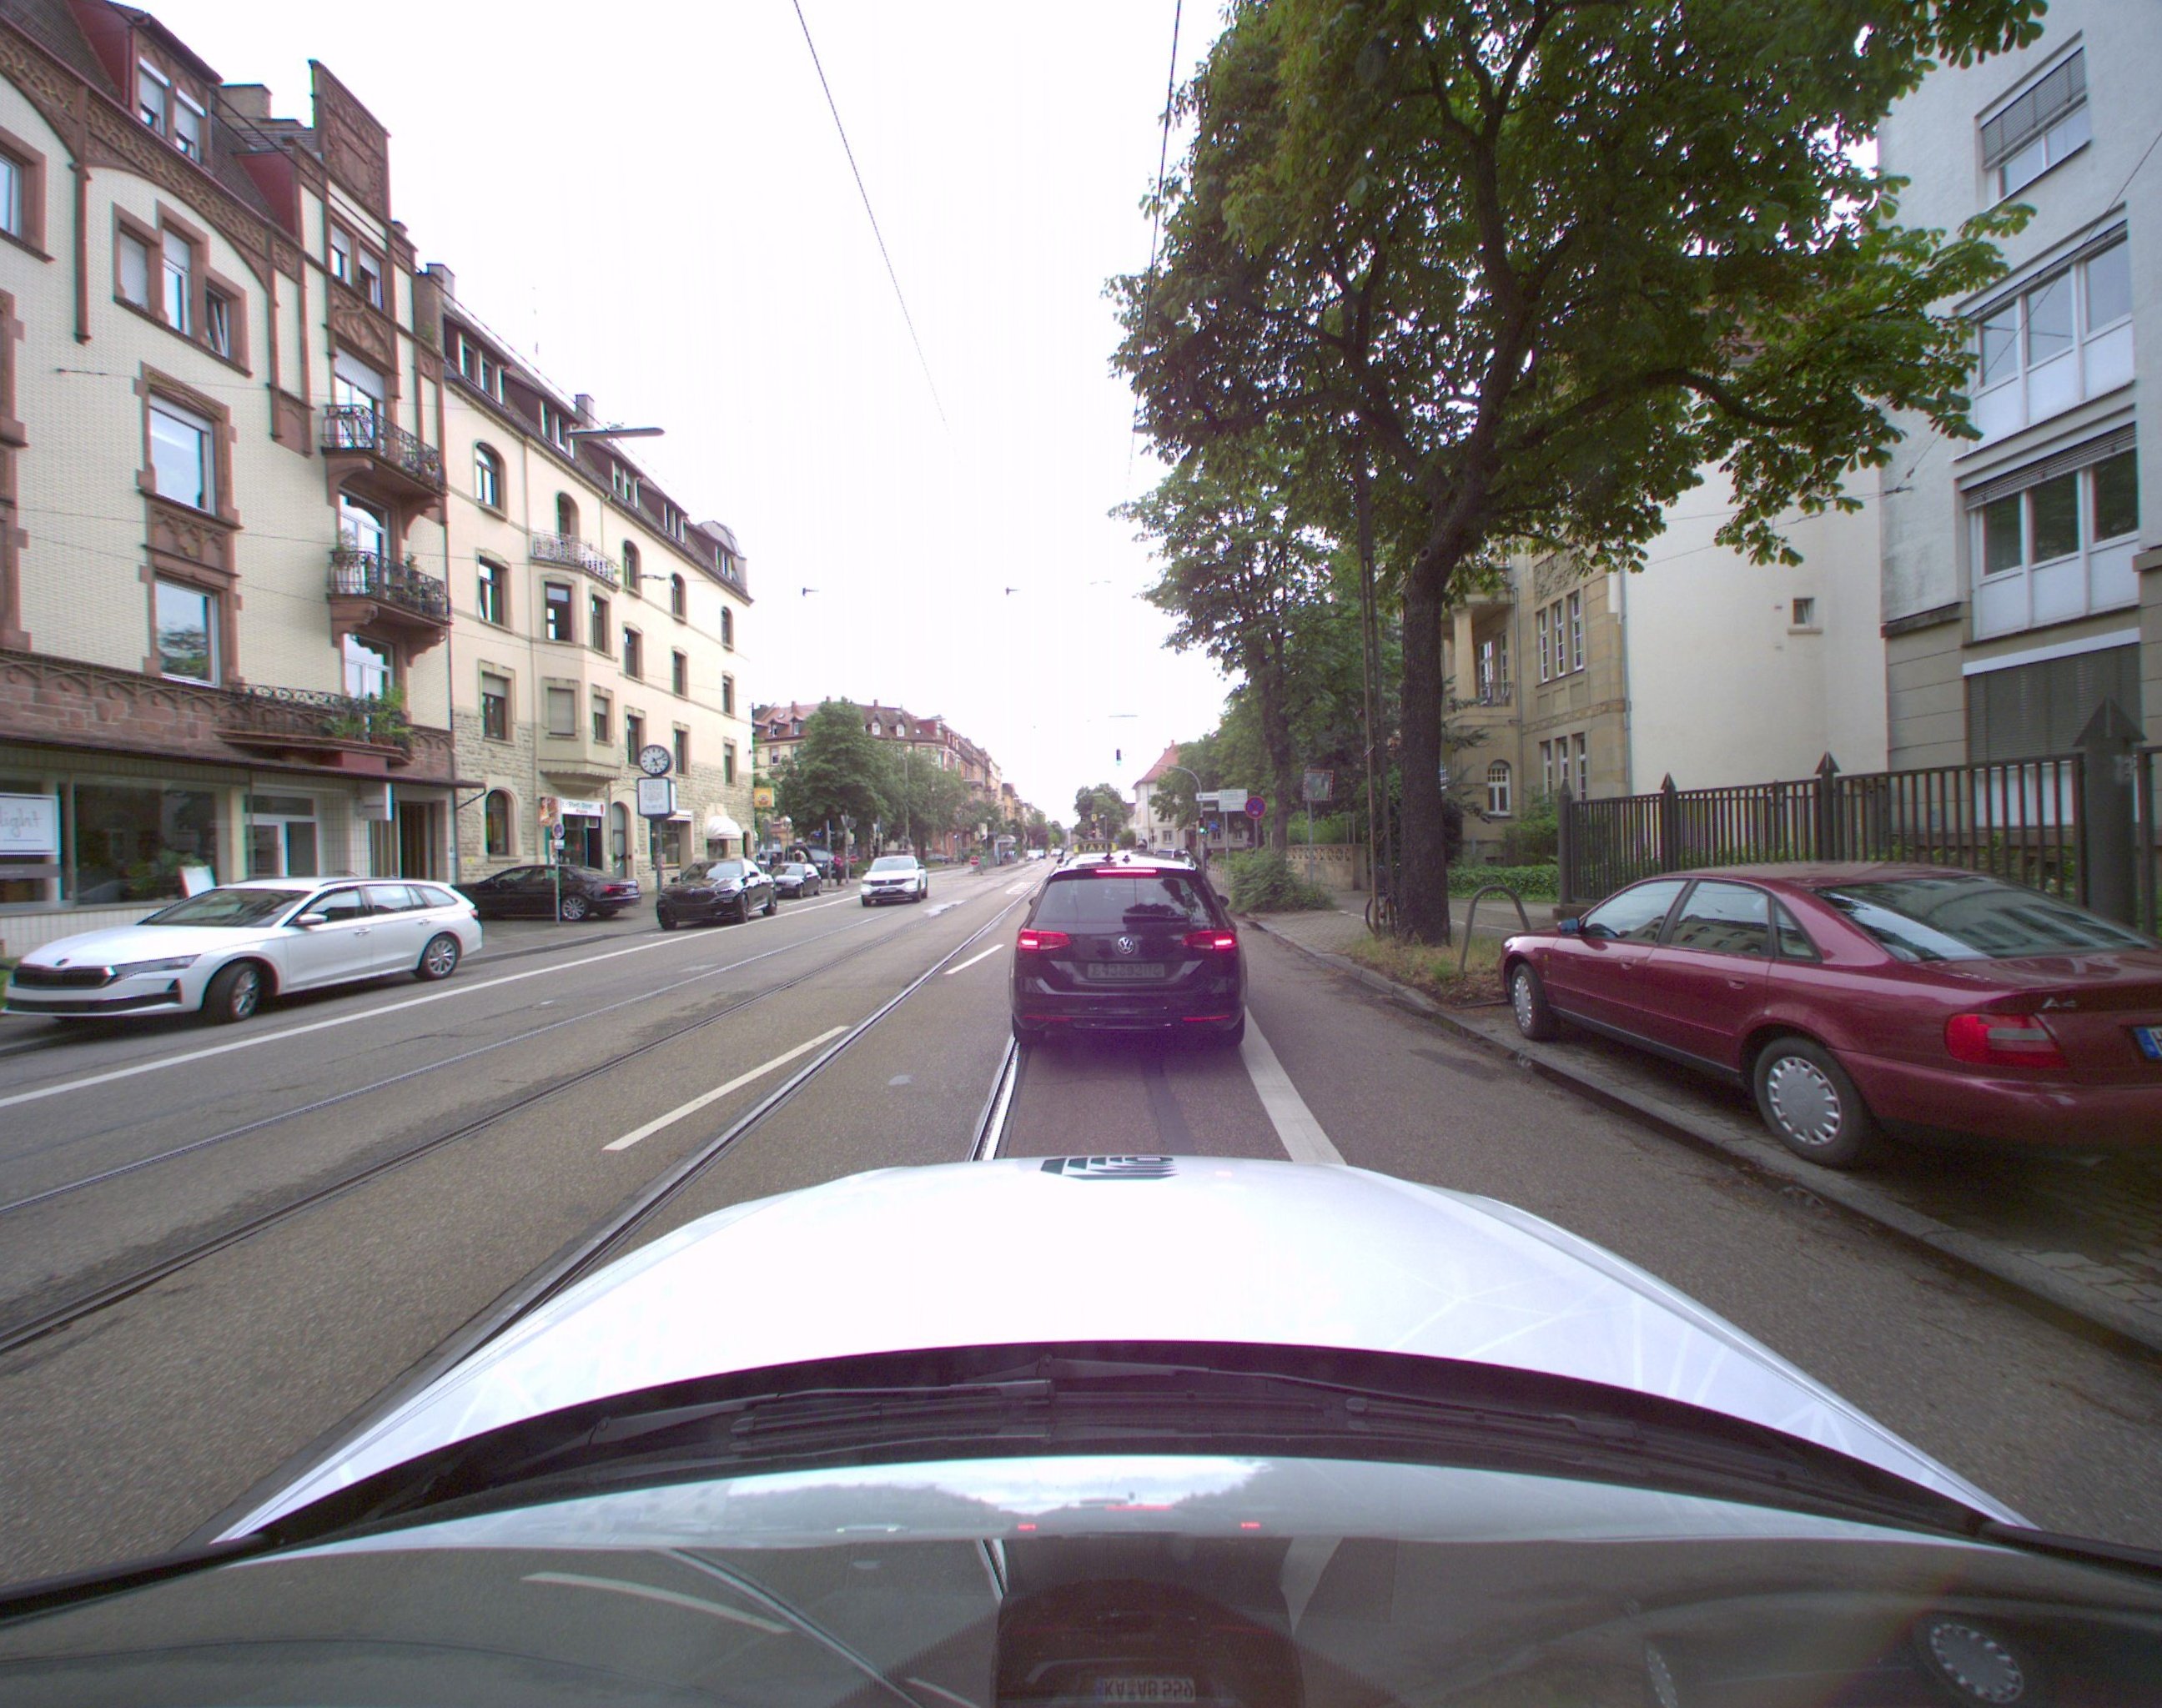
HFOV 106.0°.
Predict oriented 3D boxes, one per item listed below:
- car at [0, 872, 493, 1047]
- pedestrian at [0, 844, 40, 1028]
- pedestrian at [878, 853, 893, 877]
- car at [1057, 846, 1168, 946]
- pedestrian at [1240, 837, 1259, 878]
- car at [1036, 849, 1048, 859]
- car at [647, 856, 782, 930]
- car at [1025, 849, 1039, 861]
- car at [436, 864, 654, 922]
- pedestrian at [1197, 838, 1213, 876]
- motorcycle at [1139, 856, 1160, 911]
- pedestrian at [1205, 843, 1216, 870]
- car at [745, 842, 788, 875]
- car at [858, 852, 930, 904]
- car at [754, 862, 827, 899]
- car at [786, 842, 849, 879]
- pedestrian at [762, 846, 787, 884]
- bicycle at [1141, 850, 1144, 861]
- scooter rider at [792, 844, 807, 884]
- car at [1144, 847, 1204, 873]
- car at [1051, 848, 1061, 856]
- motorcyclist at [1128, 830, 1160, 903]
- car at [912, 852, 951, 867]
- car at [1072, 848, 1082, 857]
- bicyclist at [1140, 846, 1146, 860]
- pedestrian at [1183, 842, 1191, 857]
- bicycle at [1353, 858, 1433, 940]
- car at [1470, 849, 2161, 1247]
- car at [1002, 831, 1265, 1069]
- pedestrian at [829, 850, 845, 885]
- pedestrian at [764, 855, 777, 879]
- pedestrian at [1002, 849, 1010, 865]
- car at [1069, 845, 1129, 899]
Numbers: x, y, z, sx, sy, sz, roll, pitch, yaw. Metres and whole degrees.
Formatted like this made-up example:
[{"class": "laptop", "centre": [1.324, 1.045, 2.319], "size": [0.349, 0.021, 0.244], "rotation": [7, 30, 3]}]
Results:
[{"class": "car", "centre": [-9.827, 1.063, 10.072], "size": [1.742, 1.484, 4.607], "rotation": [-2, 0, -1]}, {"class": "pedestrian", "centre": [-11.175, 0.831, 8.008], "size": [0.666, 1.844, 0.882], "rotation": [-2, 0, -1]}, {"class": "pedestrian", "centre": [-13.381, 0.756, 55.862], "size": [0.833, 1.663, 0.591], "rotation": [-2, 0, 1]}, {"class": "car", "centre": [0.506, 0.643, 14.792], "size": [1.718, 1.546, 4.000], "rotation": [-1, 0, 0]}, {"class": "pedestrian", "centre": [7.610, 0.139, 36.726], "size": [0.630, 1.815, 0.725], "rotation": [-2, 0, -2]}, {"class": "car", "centre": [-6.355, 0.007, 132.843], "size": [1.715, 1.464, 3.863], "rotation": [-2, 0, 0]}, {"class": "car", "centre": [-9.529, 0.921, 21.640], "size": [1.882, 1.611, 4.873], "rotation": [-4, 0, -8]}, {"class": "car", "centre": [-6.986, 0.073, 117.076], "size": [1.715, 1.622, 3.863], "rotation": [-2, 0, 0]}, {"class": "car", "centre": [-14.050, 1.008, 21.567], "size": [4.417, 1.370, 1.878], "rotation": [1, 0, -5]}, {"class": "pedestrian", "centre": [6.206, 0.153, 40.924], "size": [0.583, 1.831, 0.604], "rotation": [-5, 0, 1]}, {"class": "motorcycle", "centre": [1.655, 0.693, 19.814], "size": [0.444, 1.235, 1.909], "rotation": [-2, 0, 4]}, {"class": "pedestrian", "centre": [8.946, 0.189, 56.123], "size": [0.509, 1.831, 0.420], "rotation": [-5, 0, 27]}, {"class": "car", "centre": [-25.198, 0.371, 65.128], "size": [2.193, 2.527, 5.326], "rotation": [-2, 0, -32]}, {"class": "car", "centre": [-6.021, 0.724, 26.591], "size": [1.696, 1.496, 3.924], "rotation": [-3, 0, -5]}, {"class": "car", "centre": [-12.035, 1.066, 34.006], "size": [1.644, 1.361, 4.126], "rotation": [1, 0, -2]}, {"class": "car", "centre": [-18.458, 0.473, 56.883], "size": [2.198, 2.417, 5.315], "rotation": [-2, 0, -42]}, {"class": "pedestrian", "centre": [-16.775, 0.593, 44.611], "size": [0.971, 2.013, 0.835], "rotation": [-2, 0, 0]}, {"class": "bicycle", "centre": [7.005, 0.206, 92.641], "size": [0.295, 1.223, 1.433], "rotation": [-2, 0, 8]}, {"class": "scooter rider", "centre": [-14.427, 0.493, 41.749], "size": [0.643, 2.013, 0.753], "rotation": [-2, 0, -17]}, {"class": "car", "centre": [5.492, 0.331, 47.705], "size": [1.873, 1.408, 4.026], "rotation": [-2, 0, 32]}, {"class": "car", "centre": [-5.186, -0.365, 168.724], "size": [1.788, 1.596, 4.003], "rotation": [-2, 0, 3]}, {"class": "motorcyclist", "centre": [1.519, 0.294, 19.725], "size": [0.700, 1.692, 0.805], "rotation": [-2, 0, 3]}, {"class": "car", "centre": [-17.563, 0.626, 95.764], "size": [4.021, 1.596, 1.977], "rotation": [-2, 0, -40]}, {"class": "car", "centre": [-0.891, -0.370, 183.098], "size": [2.026, 2.014, 4.000], "rotation": [-1, 0, 0]}, {"class": "bicyclist", "centre": [7.048, -0.096, 92.568], "size": [0.648, 1.568, 0.697], "rotation": [-2, 0, 7]}, {"class": "pedestrian", "centre": [10.617, -0.435, 81.635], "size": [0.612, 1.553, 0.576], "rotation": [-1, 0, -39]}, {"class": "bicycle", "centre": [4.975, 0.676, 12.923], "size": [1.915, 1.198, 0.428], "rotation": [0, -1, -45]}, {"class": "car", "centre": [4.305, 0.716, 5.188], "size": [1.597, 1.399, 4.227], "rotation": [-3, 0, 0]}, {"class": "car", "centre": [0.363, 0.620, 7.410], "size": [1.718, 1.546, 4.000], "rotation": [-1, 0, 0]}, {"class": "pedestrian", "centre": [-12.792, 0.703, 42.781], "size": [0.621, 1.842, 0.609], "rotation": [-2, 0, -2]}, {"class": "pedestrian", "centre": [-22.914, 0.933, 60.032], "size": [0.703, 1.715, 0.546], "rotation": [-2, 0, -40]}, {"class": "pedestrian", "centre": [-7.341, 0.273, 79.584], "size": [0.711, 1.520, 0.590], "rotation": [-2, 0, 1]}, {"class": "car", "centre": [0.526, 0.517, 25.734], "size": [1.718, 1.546, 4.000], "rotation": [-1, 0, 0]}]
